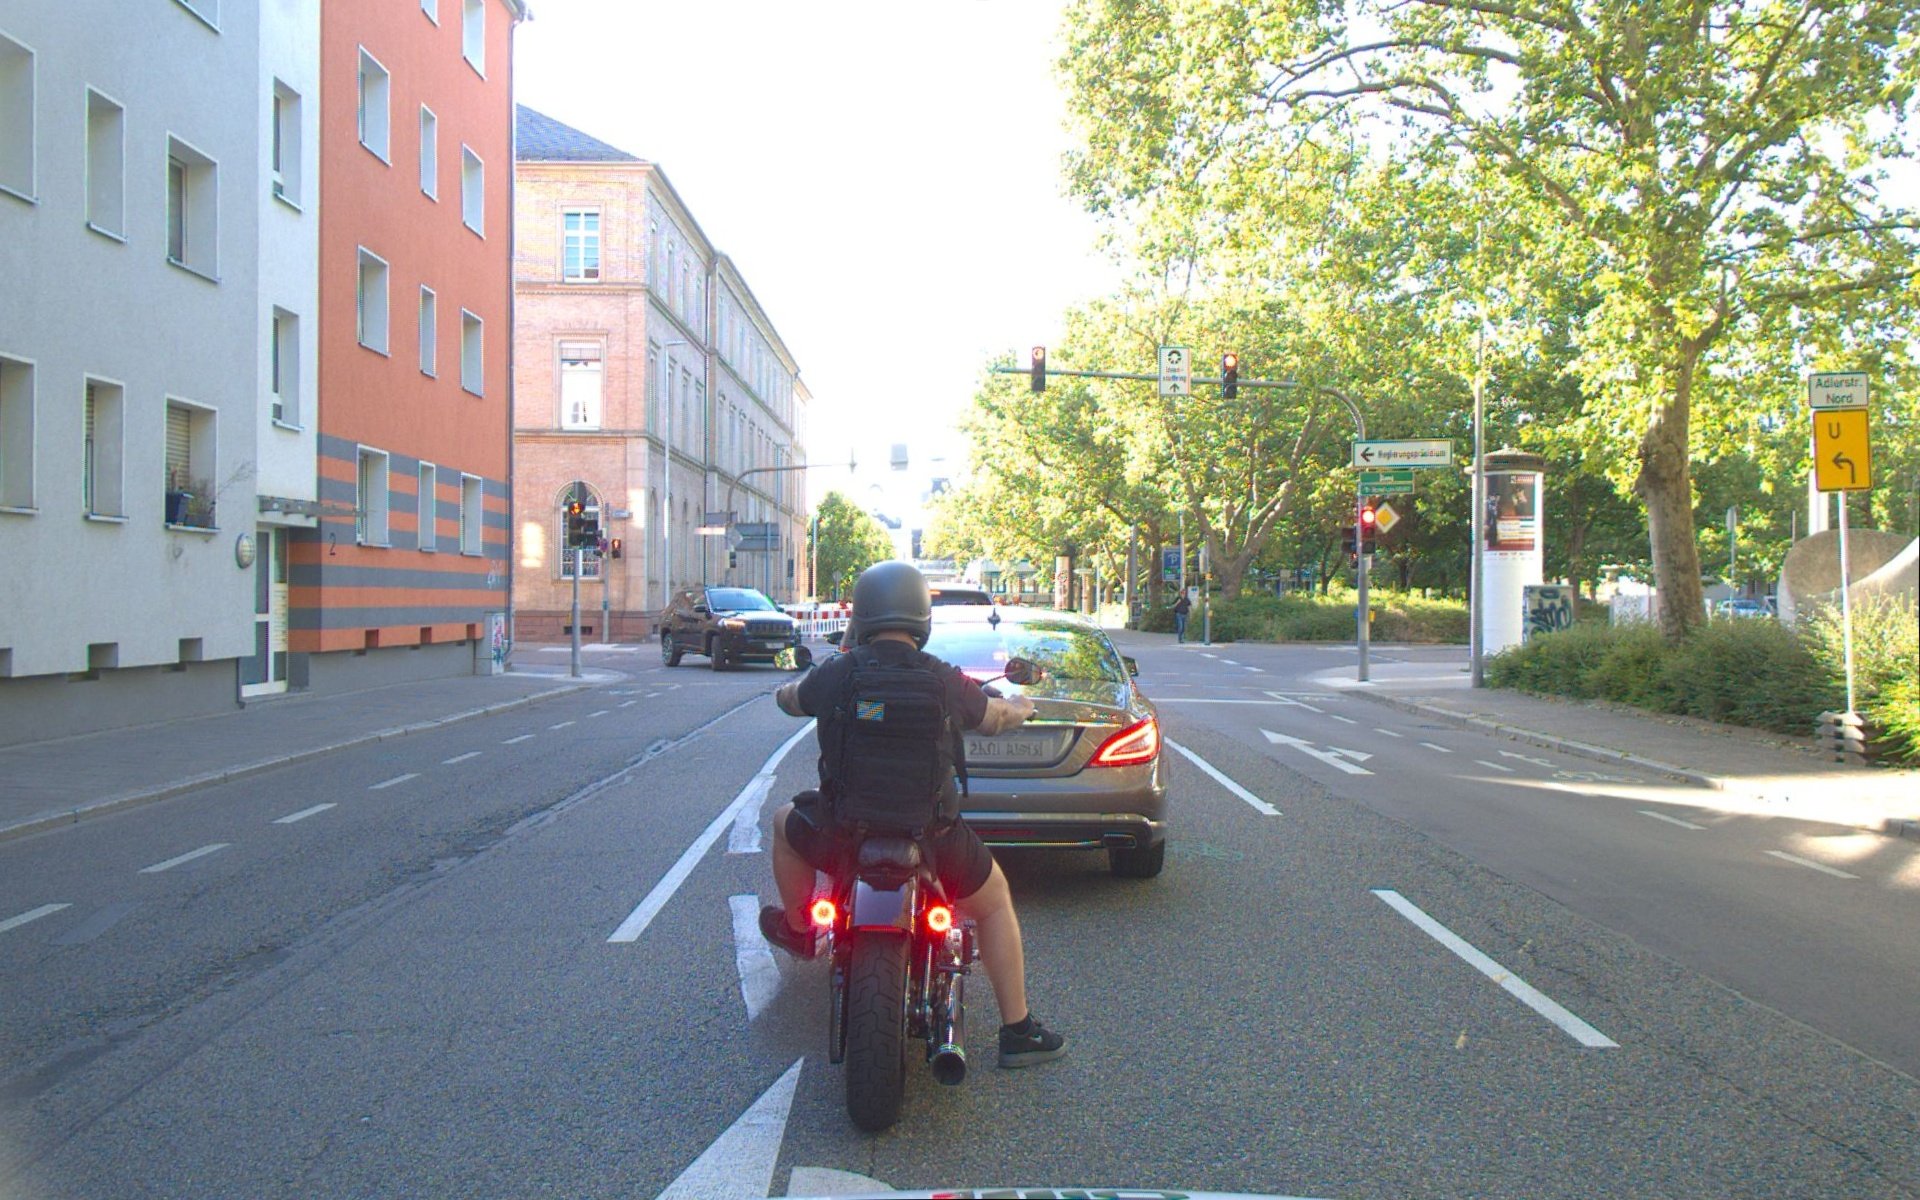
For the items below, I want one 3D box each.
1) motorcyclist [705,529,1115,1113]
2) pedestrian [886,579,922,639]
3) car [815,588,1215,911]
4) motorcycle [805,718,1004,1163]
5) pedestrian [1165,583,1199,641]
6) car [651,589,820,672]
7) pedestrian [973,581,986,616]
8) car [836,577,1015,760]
[{"bbox_3d":[-0.146,0.625,5.298,1.125,1.626,1.288,1,0,-1],"label":"motorcyclist"},{"bbox_3d":[-1.761,0.277,51.957,0.980,1.858,1.077,1,-1,5],"label":"pedestrian"},{"bbox_3d":[0.231,0.688,9.614,1.844,1.475,3.819,1,0,-1],"label":"car"},{"bbox_3d":[-0.160,0.963,5.337,0.503,1.020,2.013,1,0,-1],"label":"motorcycle"},{"bbox_3d":[7.577,0.417,56.567,0.741,1.943,0.917,1,-1,-29],"label":"pedestrian"},{"bbox_3d":[-4.672,0.586,33.984,1.832,1.597,4.337,1,0,-32],"label":"car"},{"bbox_3d":[1.192,-0.088,100.921,0.748,2.087,0.712,1,-1,-1],"label":"pedestrian"},{"bbox_3d":[-0.335,0.600,16.722,1.588,1.622,3.999,0,0,-1],"label":"car"}]
